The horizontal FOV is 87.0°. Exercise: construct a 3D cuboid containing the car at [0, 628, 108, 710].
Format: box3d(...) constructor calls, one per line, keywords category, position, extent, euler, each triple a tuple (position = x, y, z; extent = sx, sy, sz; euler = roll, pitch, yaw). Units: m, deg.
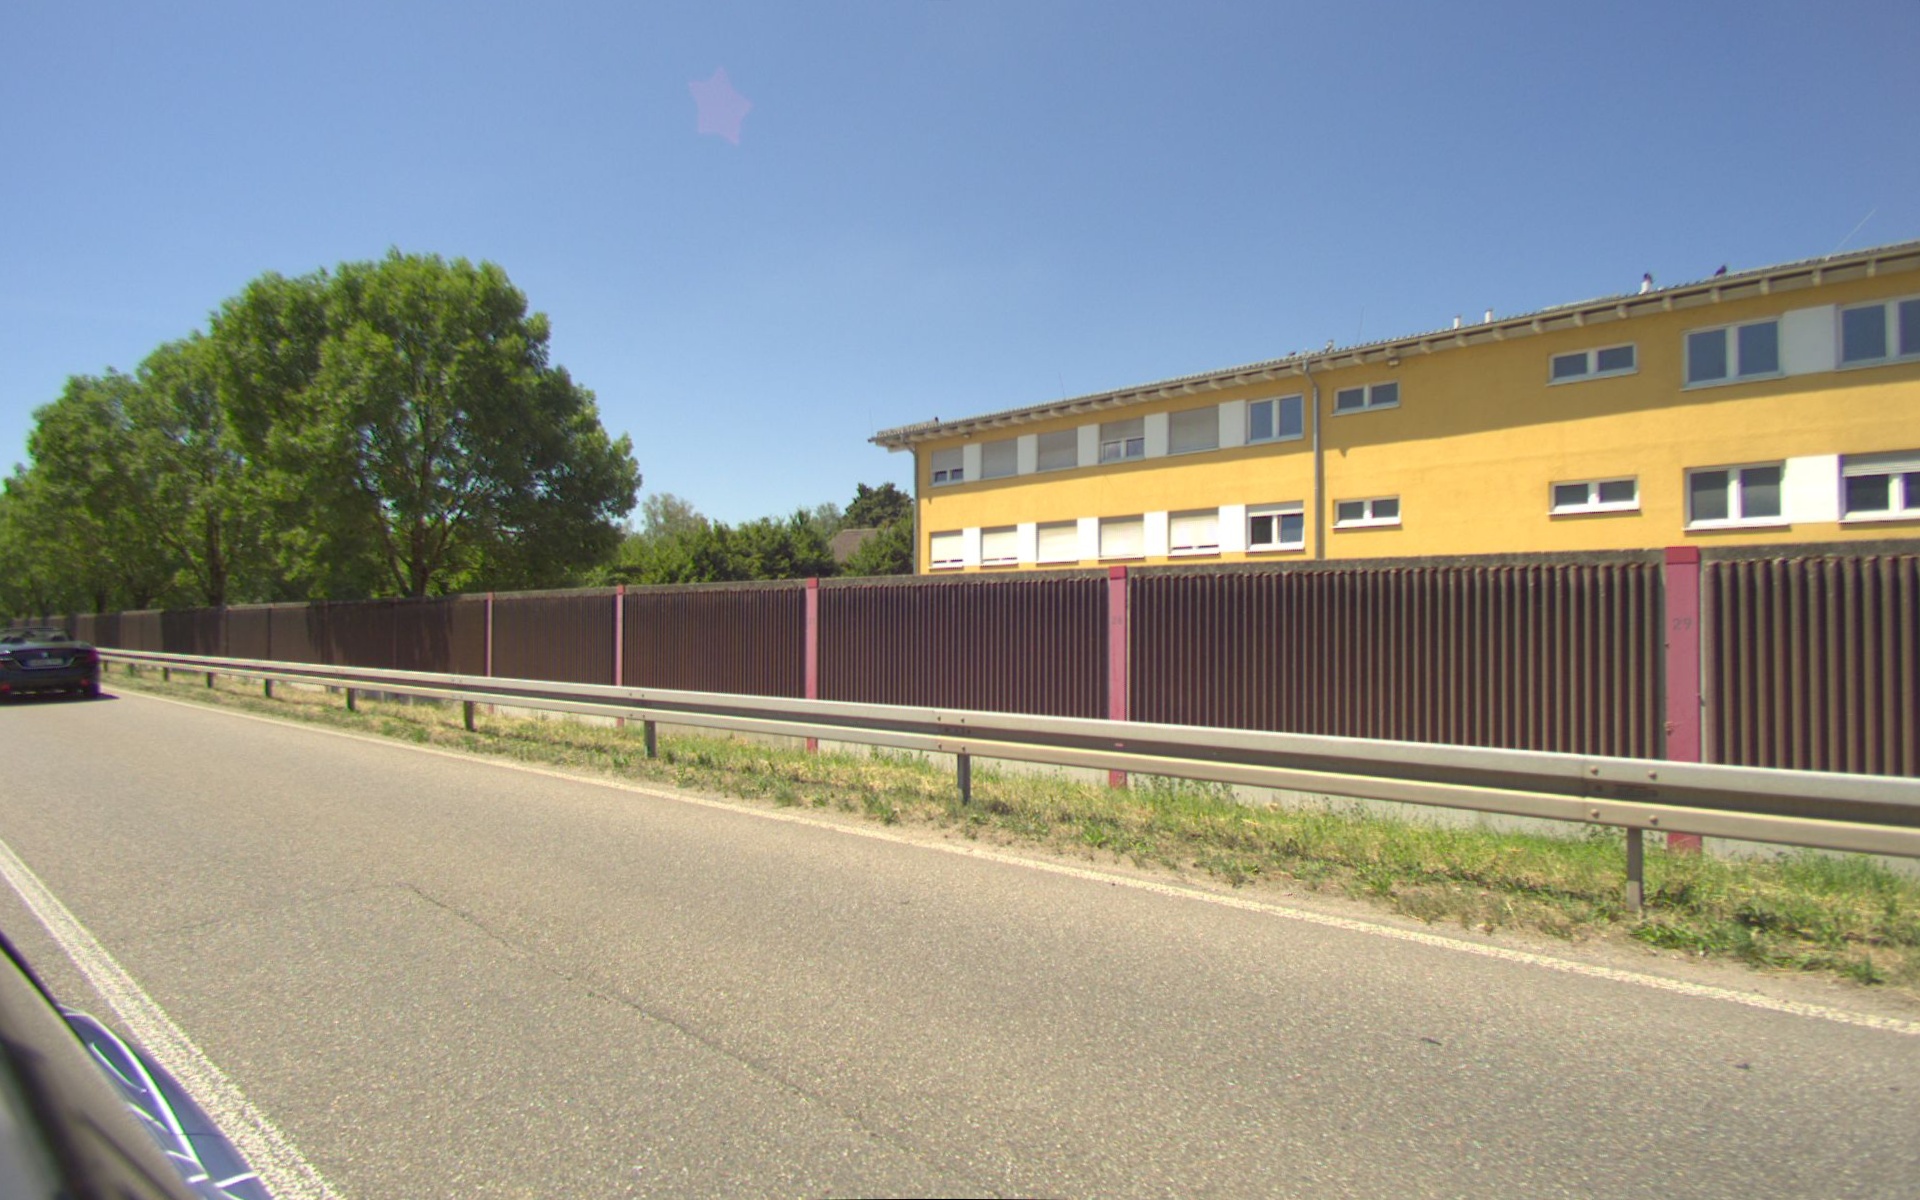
box3d(category="car", position=(-18.289, 1.293, 19.818), extent=(4.188, 1.400, 1.826), euler=(-2, 0, 41))
